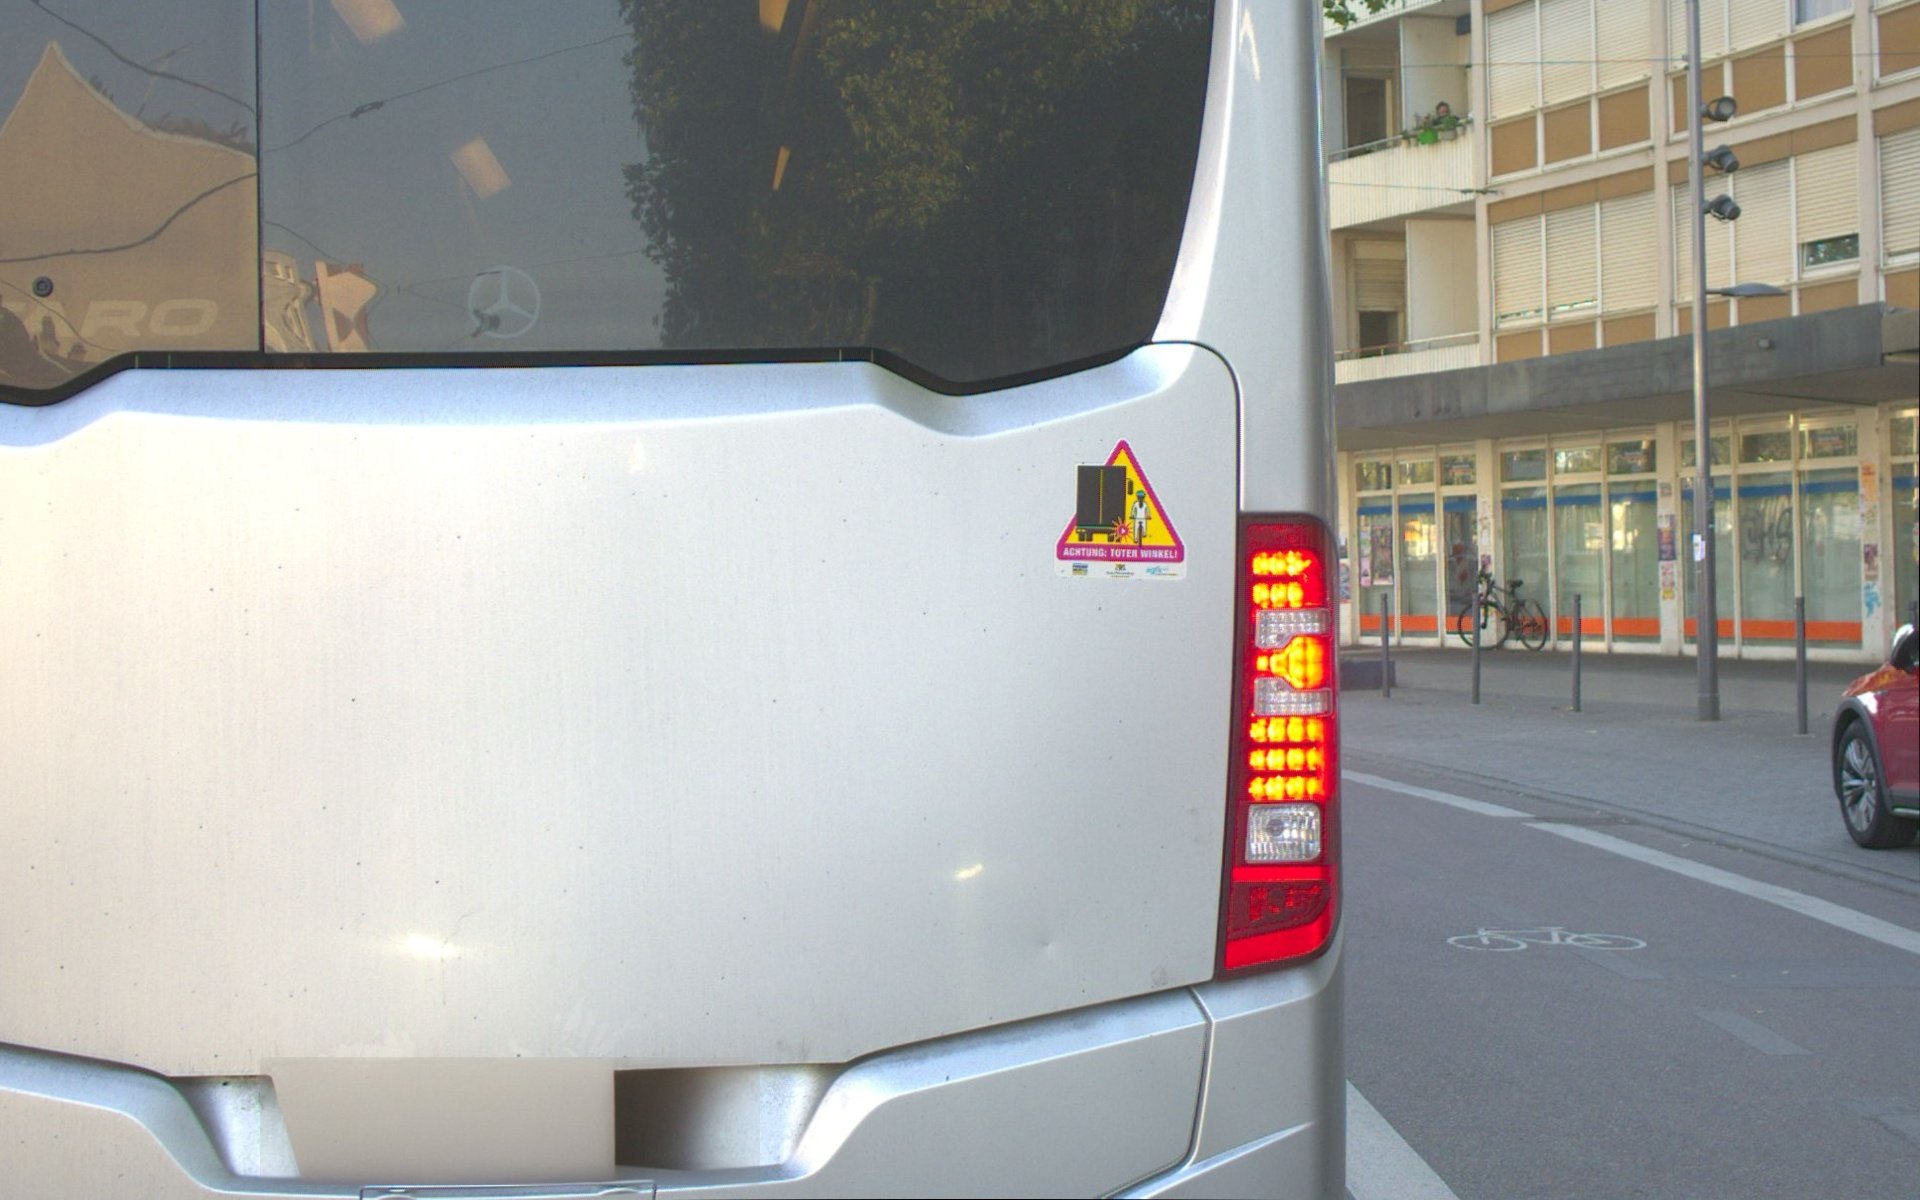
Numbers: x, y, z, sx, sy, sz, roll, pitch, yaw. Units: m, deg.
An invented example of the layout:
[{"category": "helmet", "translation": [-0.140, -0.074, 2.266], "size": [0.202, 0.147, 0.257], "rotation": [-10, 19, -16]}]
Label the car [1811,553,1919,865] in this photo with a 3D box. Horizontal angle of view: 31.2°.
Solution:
[{"category": "car", "translation": [5.507, 0.505, 15.848], "size": [1.769, 1.477, 4.304], "rotation": [-2, 1, -4]}]

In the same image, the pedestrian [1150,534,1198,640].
[{"category": "pedestrian", "translation": [3.348, -0.206, 53.863], "size": [0.535, 1.643, 0.616], "rotation": [-1, 1, -17]}]

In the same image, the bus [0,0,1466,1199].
[{"category": "bus", "translation": [-0.662, -0.143, 9.887], "size": [2.630, 3.017, 9.998], "rotation": [0, 1, -1]}]

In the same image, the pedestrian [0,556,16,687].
[{"category": "pedestrian", "translation": [-12.681, 0.281, 44.231], "size": [0.994, 1.680, 0.644], "rotation": [0, -1, -12]}]

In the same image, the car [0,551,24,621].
[{"category": "car", "translation": [-25.837, -0.377, 88.163], "size": [1.994, 1.785, 3.998], "rotation": [1, 0, -41]}]

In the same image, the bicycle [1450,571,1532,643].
[{"category": "bicycle", "translation": [7.061, 0.088, 45.740], "size": [0.412, 0.941, 1.441], "rotation": [-1, 1, -20]}]
